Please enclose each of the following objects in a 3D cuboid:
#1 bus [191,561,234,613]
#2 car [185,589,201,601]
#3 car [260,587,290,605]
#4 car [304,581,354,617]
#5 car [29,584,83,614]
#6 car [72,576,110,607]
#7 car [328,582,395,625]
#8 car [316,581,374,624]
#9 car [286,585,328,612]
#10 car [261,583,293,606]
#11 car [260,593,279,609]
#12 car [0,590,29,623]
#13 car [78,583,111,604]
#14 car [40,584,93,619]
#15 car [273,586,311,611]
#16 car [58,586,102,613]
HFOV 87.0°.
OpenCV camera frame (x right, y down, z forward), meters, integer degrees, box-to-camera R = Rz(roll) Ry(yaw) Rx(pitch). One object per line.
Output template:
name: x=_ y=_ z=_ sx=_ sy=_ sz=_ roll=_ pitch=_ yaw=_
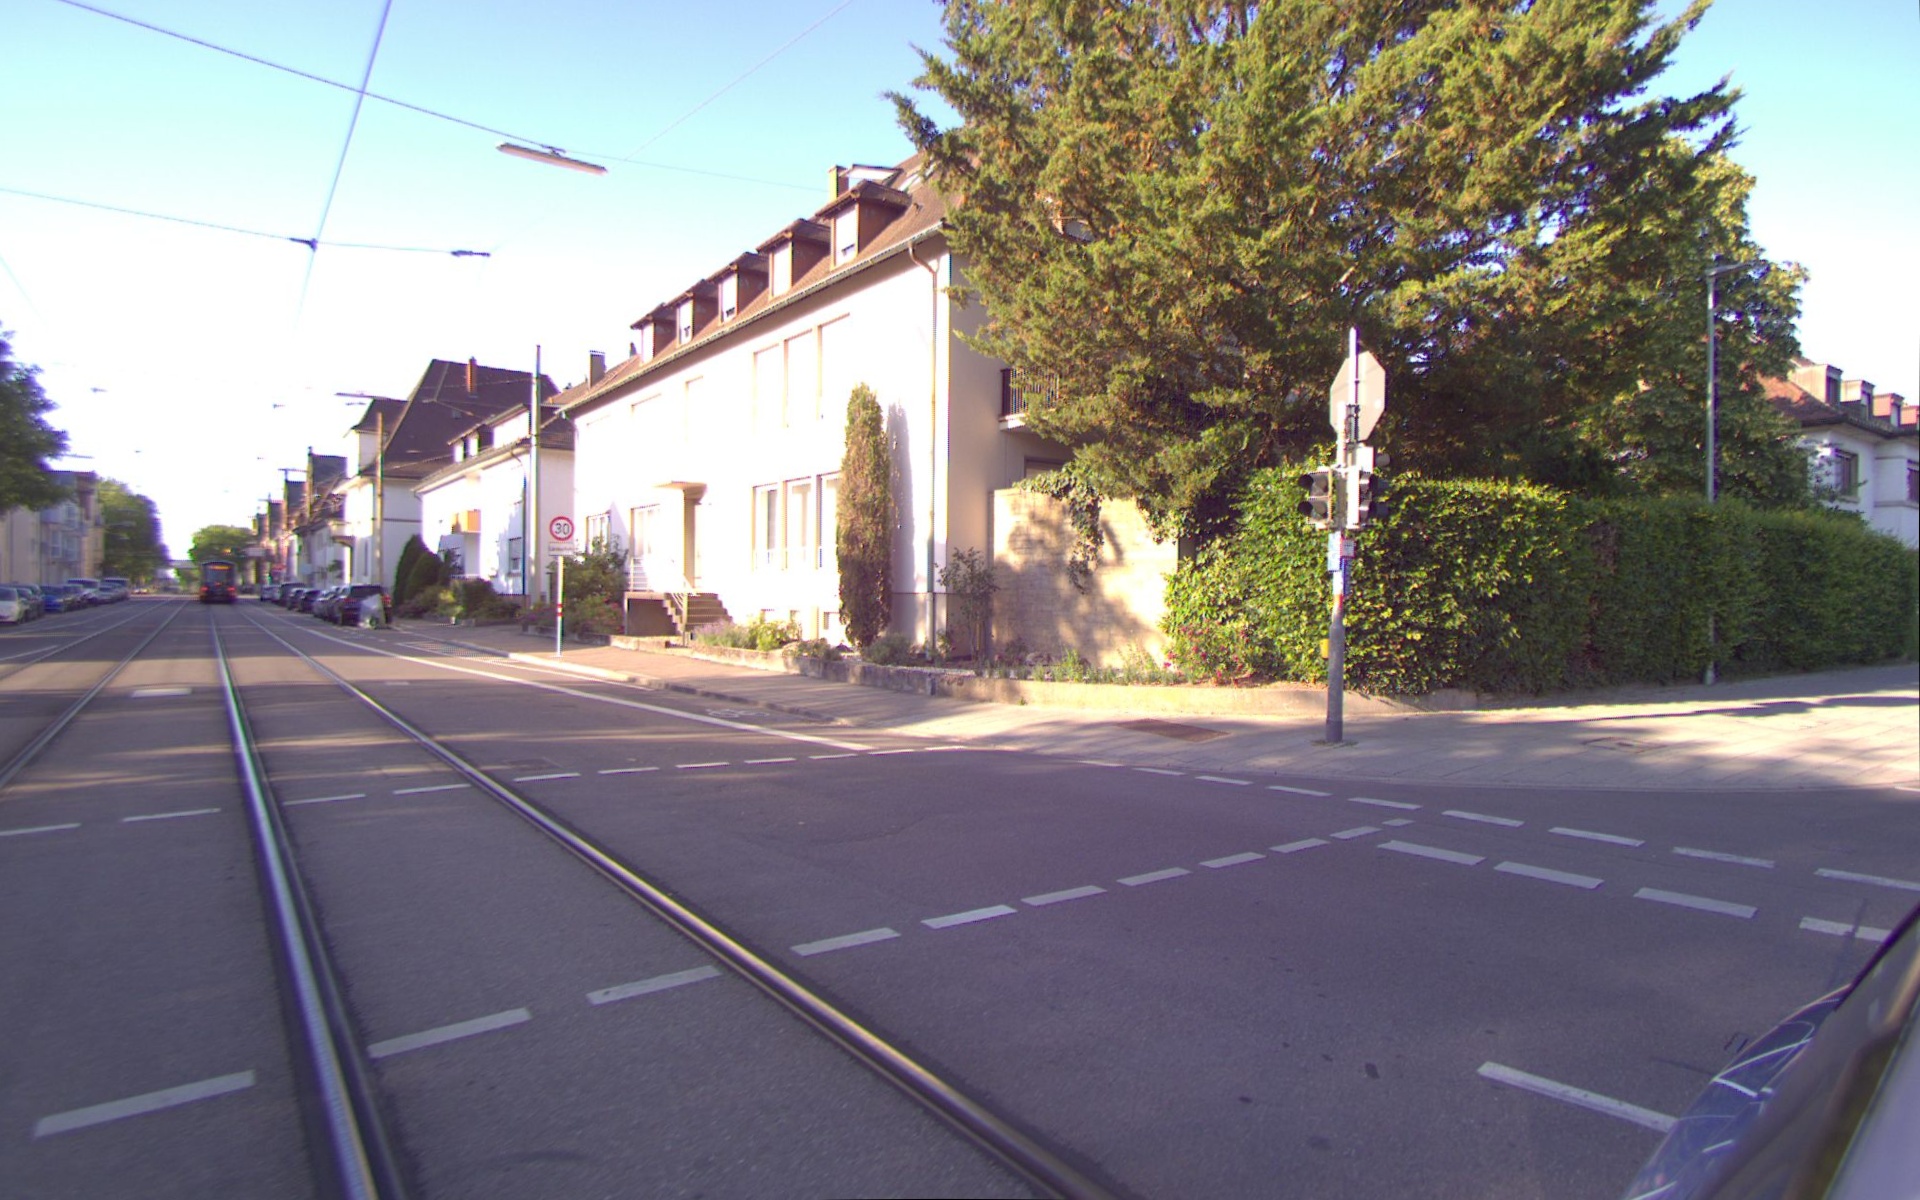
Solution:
bus: x=-64.077 y=-0.984 z=86.916 sx=2.812 sy=3.875 sz=13.317 roll=0 pitch=-1 yaw=-36
car: x=-111.540 y=-0.728 z=147.231 sx=1.591 sy=1.641 sz=3.717 roll=0 pitch=3 yaw=-41
car: x=-57.484 y=-0.342 z=84.951 sx=1.963 sy=1.460 sz=3.999 roll=0 pitch=1 yaw=-36
car: x=-33.259 y=-0.069 z=53.312 sx=1.963 sy=1.792 sz=3.999 roll=0 pitch=1 yaw=-36
car: x=-50.903 y=-0.075 z=57.044 sx=1.890 sy=1.616 sz=3.900 roll=0 pitch=0 yaw=-36
car: x=-62.684 y=-0.604 z=73.068 sx=1.964 sy=2.039 sz=3.995 roll=0 pitch=-1 yaw=-39
car: x=-24.222 y=0.118 z=40.911 sx=1.962 sy=1.616 sz=3.999 roll=0 pitch=0 yaw=-36
car: x=-28.805 y=0.099 z=47.375 sx=1.962 sy=1.905 sz=4.000 roll=1 pitch=1 yaw=-36
car: x=-40.887 y=-0.098 z=63.328 sx=1.963 sy=1.648 sz=3.998 roll=-1 pitch=0 yaw=-36
car: x=-54.308 y=-0.443 z=80.431 sx=1.963 sy=1.794 sz=3.999 roll=0 pitch=1 yaw=-36
car: x=-68.744 y=0.142 z=100.720 sx=1.454 sy=1.467 sz=3.438 roll=-1 pitch=-1 yaw=-36
car: x=-39.567 y=0.244 z=41.228 sx=1.963 sy=1.326 sz=3.999 roll=0 pitch=1 yaw=-36
car: x=-69.557 y=-0.512 z=81.381 sx=1.807 sy=1.555 sz=3.872 roll=-1 pitch=-1 yaw=-38
car: x=-53.414 y=0.055 z=60.564 sx=1.962 sy=2.039 sz=3.999 roll=0 pitch=1 yaw=-36
car: x=-45.094 y=-0.095 z=68.322 sx=1.963 sy=1.483 sz=3.997 roll=-1 pitch=-2 yaw=-36
car: x=-56.454 y=-0.011 z=64.965 sx=1.964 sy=1.636 sz=3.995 roll=-1 pitch=-1 yaw=-39
